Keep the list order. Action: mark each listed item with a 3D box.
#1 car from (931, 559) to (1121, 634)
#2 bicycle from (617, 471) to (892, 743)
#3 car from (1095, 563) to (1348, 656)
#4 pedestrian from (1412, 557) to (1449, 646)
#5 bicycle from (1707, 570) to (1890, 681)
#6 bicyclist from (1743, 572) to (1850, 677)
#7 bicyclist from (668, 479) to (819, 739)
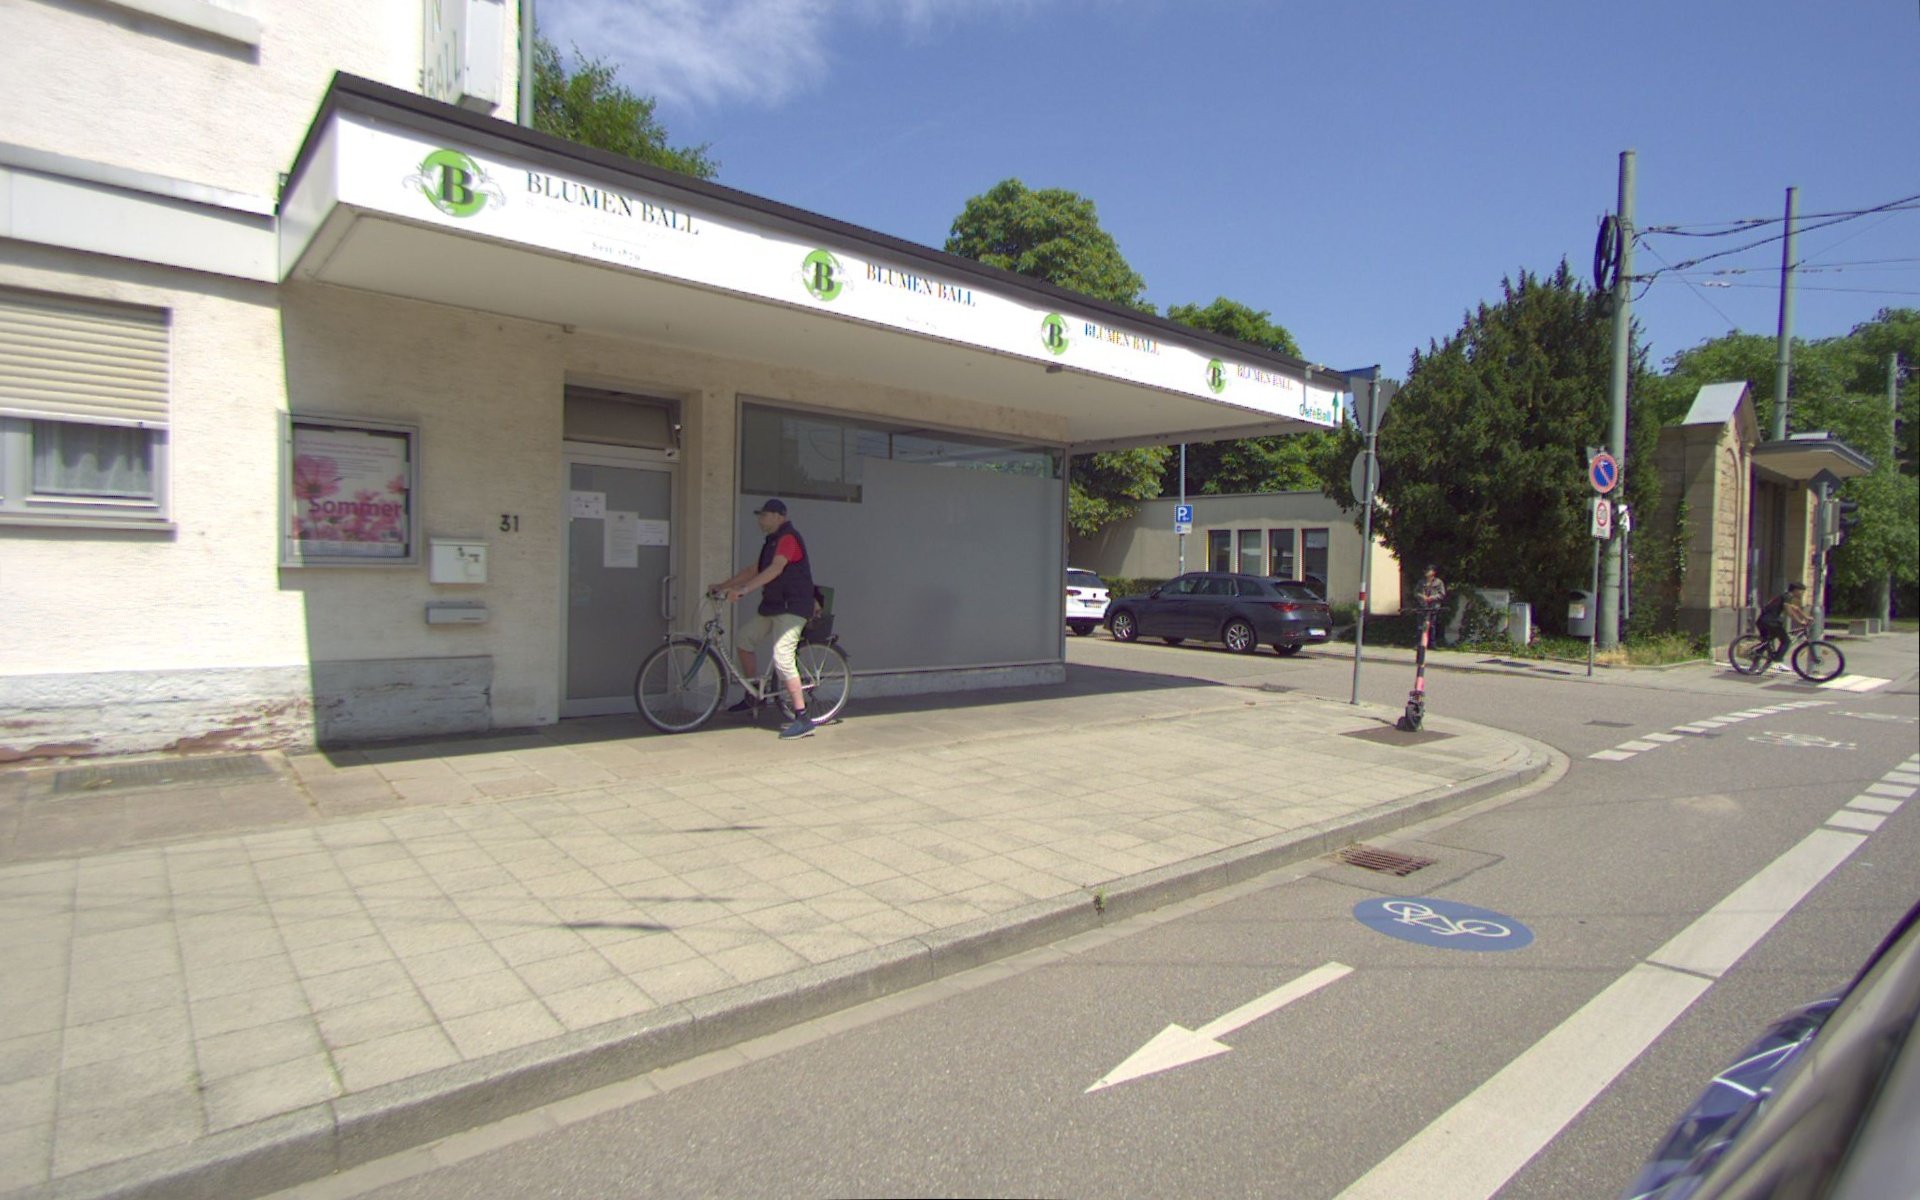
[{"bbox_3d":[1.389,-0.133,22.941,1.567,1.475,4.459,1,2,-41],"label":"car"},{"bbox_3d":[-1.605,0.036,8.009,1.920,1.923,0.801,1,3,-34],"label":"bicycle"},{"bbox_3d":[4.751,0.104,18.965,1.567,1.475,4.460,1,2,-40],"label":"car"},{"bbox_3d":[8.702,0.016,18.721,0.532,1.618,0.420,0,0,36],"label":"pedestrian"},{"bbox_3d":[13.913,0.389,16.882,2.024,1.608,0.886,5,4,18],"label":"bicycle"},{"bbox_3d":[13.920,0.382,16.877,0.973,1.596,0.864,5,4,18],"label":"bicyclist"},{"bbox_3d":[-1.712,0.045,7.954,0.870,1.897,0.792,1,3,-34],"label":"bicyclist"}]
